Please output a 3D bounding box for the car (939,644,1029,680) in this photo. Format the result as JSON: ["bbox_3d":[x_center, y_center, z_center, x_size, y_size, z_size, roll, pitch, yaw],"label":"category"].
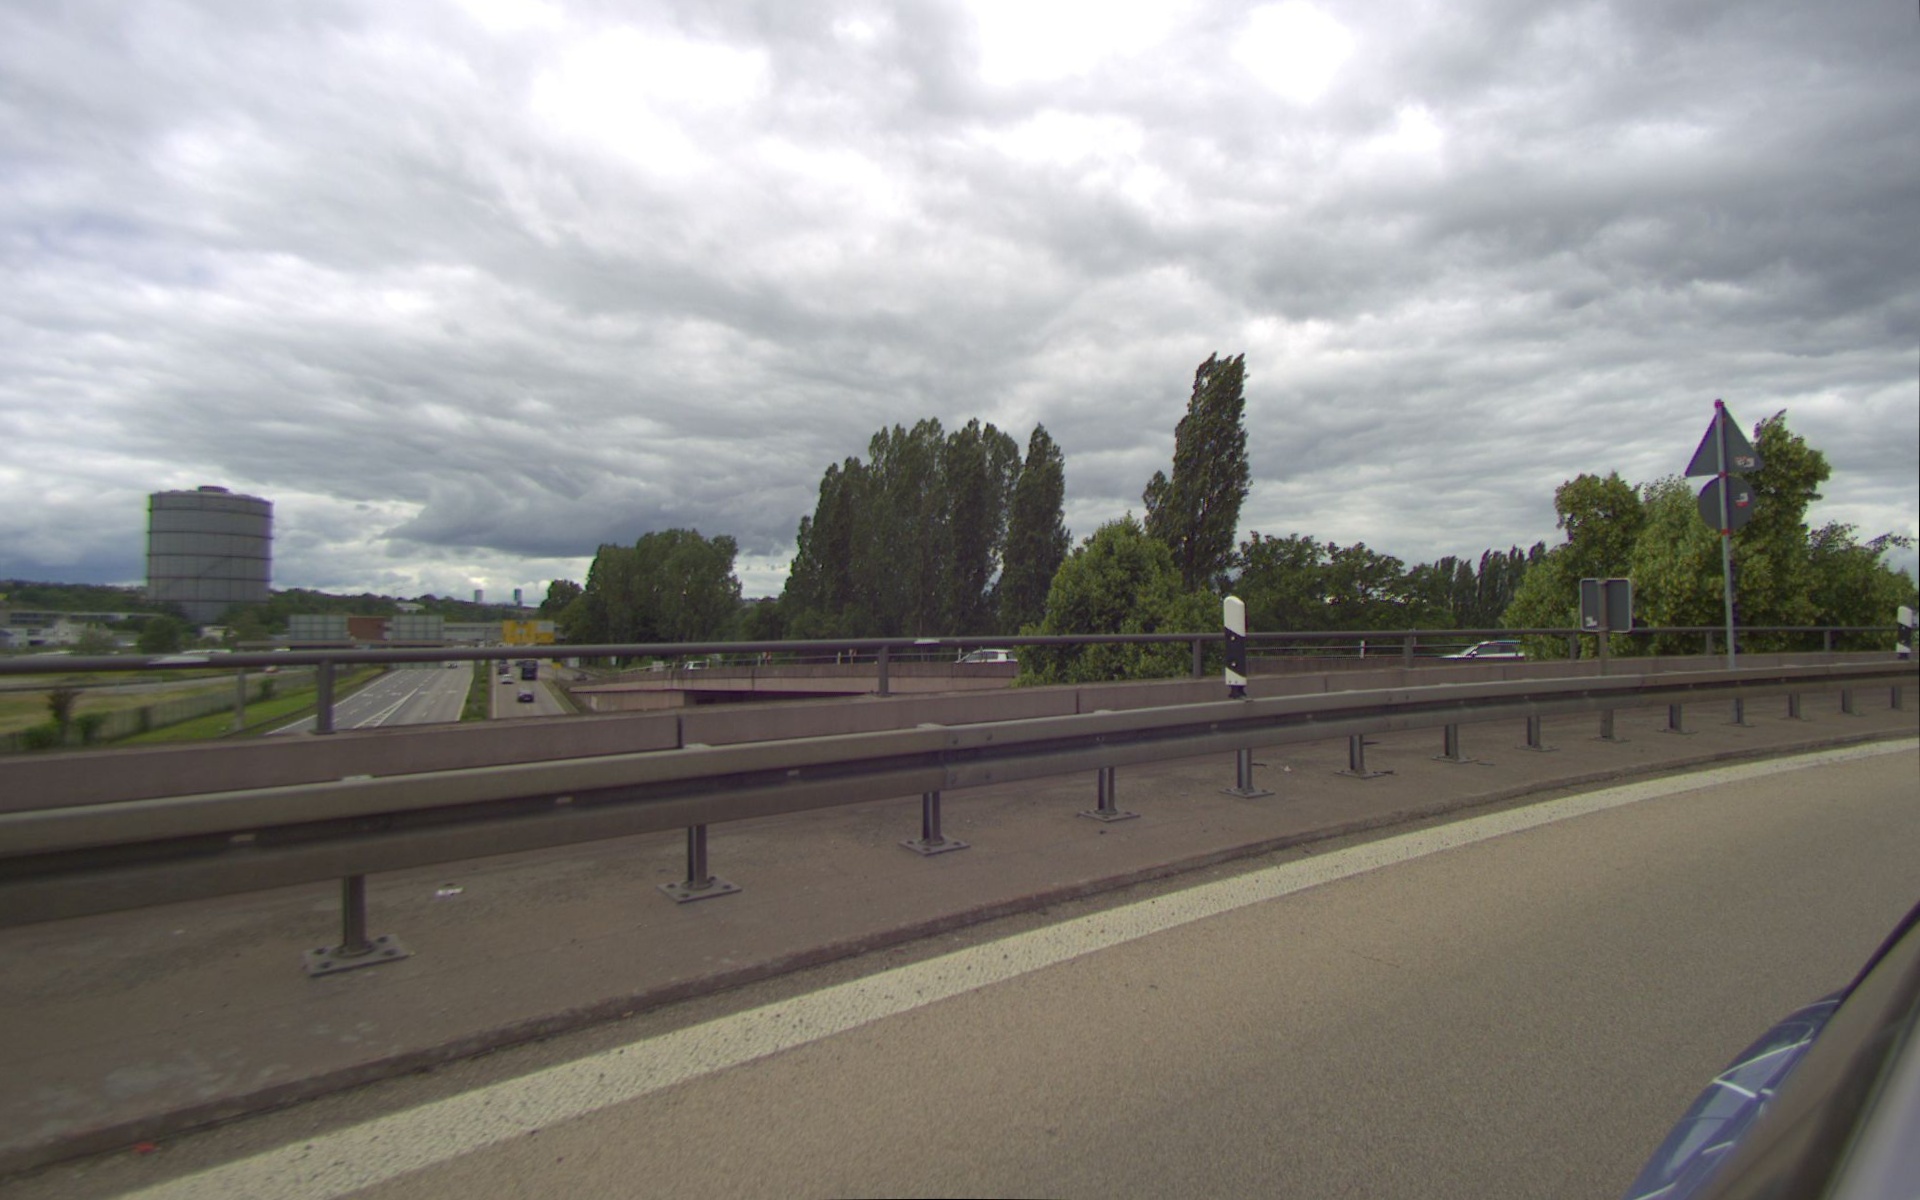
[{"bbox_3d":[1.015,2.718,44.192,1.707,1.500,3.991,3,-5,-41],"label":"car"}]

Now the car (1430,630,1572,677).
[{"bbox_3d":[17.513,1.771,32.952,3.895,1.428,1.773,-3,-5,27],"label":"car"}]
